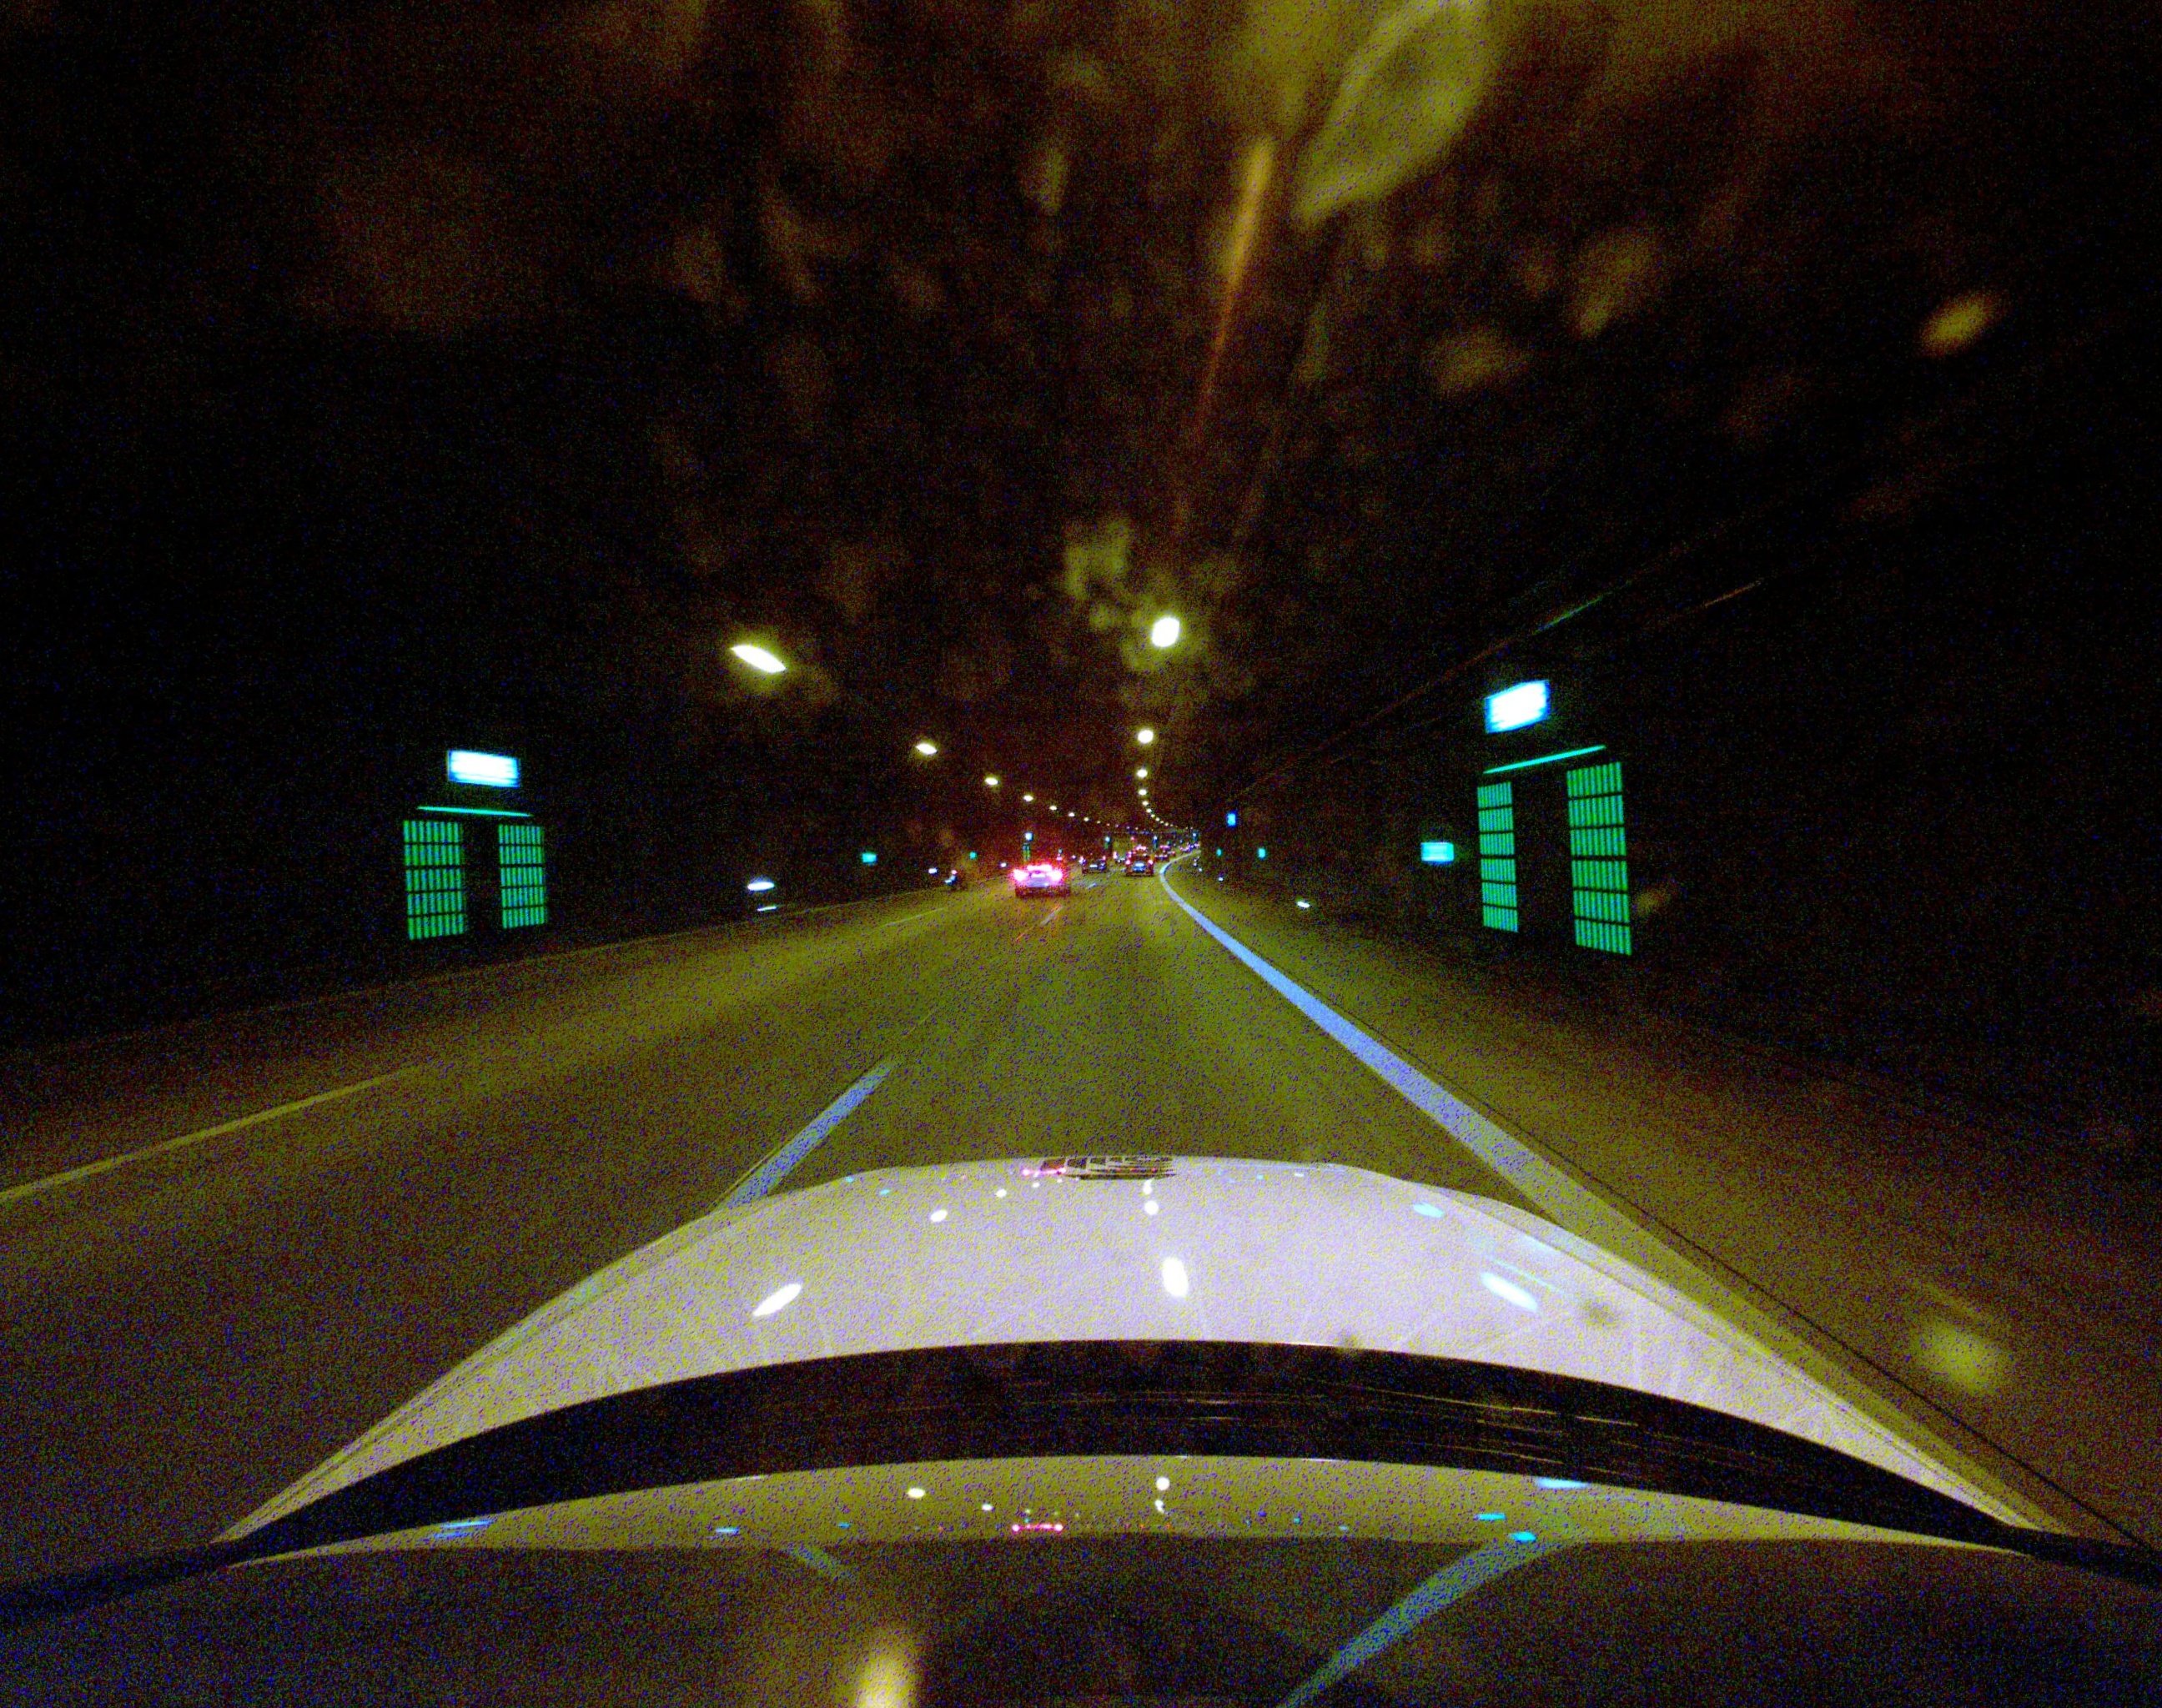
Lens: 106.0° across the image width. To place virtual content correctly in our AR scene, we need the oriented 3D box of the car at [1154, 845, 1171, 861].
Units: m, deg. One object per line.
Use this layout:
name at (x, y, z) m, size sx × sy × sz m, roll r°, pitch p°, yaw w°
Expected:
car at (10.100, -0.151, 100.495) m, size 1.847 × 1.854 × 4.009 m, roll -1°, pitch 0°, yaw 8°

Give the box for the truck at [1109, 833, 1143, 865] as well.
truck at (5.483, -0.587, 97.935) m, size 3.020 × 3.673 × 7.414 m, roll -1°, pitch 0°, yaw 10°

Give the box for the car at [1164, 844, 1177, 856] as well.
car at (14.141, -0.616, 128.128) m, size 1.940 × 1.772 × 4.008 m, roll -1°, pitch -1°, yaw 7°

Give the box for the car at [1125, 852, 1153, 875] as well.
car at (3.841, 0.631, 53.468) m, size 1.734 × 1.464 × 3.877 m, roll -1°, pitch -1°, yaw 5°

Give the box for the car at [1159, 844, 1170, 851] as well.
car at (19.045, -1.465, 184.908) m, size 1.916 × 1.642 × 4.016 m, roll -1°, pitch -1°, yaw 15°

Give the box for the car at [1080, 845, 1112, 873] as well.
car at (1.175, 0.373, 61.875) m, size 1.899 × 1.944 × 3.880 m, roll -1°, pitch 2°, yaw 7°

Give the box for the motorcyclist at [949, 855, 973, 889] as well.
motorcyclist at (-5.145, 0.759, 35.003) m, size 0.773 × 1.452 × 1.070 m, roll -1°, pitch -1°, yaw 6°

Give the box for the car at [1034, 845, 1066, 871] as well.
car at (-2.489, 0.294, 66.317) m, size 1.983 × 2.013 × 4.007 m, roll -1°, pitch 0°, yaw 6°

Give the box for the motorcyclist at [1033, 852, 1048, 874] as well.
motorcyclist at (-2.615, 0.592, 53.112) m, size 0.803 × 1.448 × 1.865 m, roll -1°, pitch -1°, yaw 1°

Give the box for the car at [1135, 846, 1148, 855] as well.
car at (11.277, -0.575, 151.094) m, size 1.919 × 1.642 × 4.011 m, roll -1°, pitch 0°, yaw 10°

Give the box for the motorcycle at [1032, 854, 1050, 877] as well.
motorcycle at (-2.601, 0.757, 53.103) m, size 0.923 × 1.434 × 2.964 m, roll 0°, pitch -1°, yaw 1°

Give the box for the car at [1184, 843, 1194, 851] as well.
car at (25.088, -1.652, 189.304) m, size 1.982 × 1.632 × 4.010 m, roll -1°, pitch -1°, yaw 9°

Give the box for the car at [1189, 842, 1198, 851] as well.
car at (28.222, -1.913, 204.345) m, size 1.981 × 2.014 × 4.012 m, roll -1°, pitch -1°, yaw 11°

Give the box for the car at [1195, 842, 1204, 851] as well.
car at (28.787, -1.804, 197.636) m, size 1.980 × 2.014 × 4.014 m, roll -1°, pitch -1°, yaw 13°

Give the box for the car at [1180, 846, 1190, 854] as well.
car at (21.124, -0.835, 165.132) m, size 1.919 × 1.642 × 4.010 m, roll -1°, pitch -1°, yaw 9°

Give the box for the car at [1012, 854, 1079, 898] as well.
car at (-1.249, 0.774, 30.950) m, size 1.693 × 1.419 × 5.070 m, roll -1°, pitch 1°, yaw 7°

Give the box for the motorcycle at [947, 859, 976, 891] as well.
motorcycle at (-5.107, 0.877, 35.026) m, size 0.679 × 1.297 × 2.402 m, roll -1°, pitch 0°, yaw 5°
